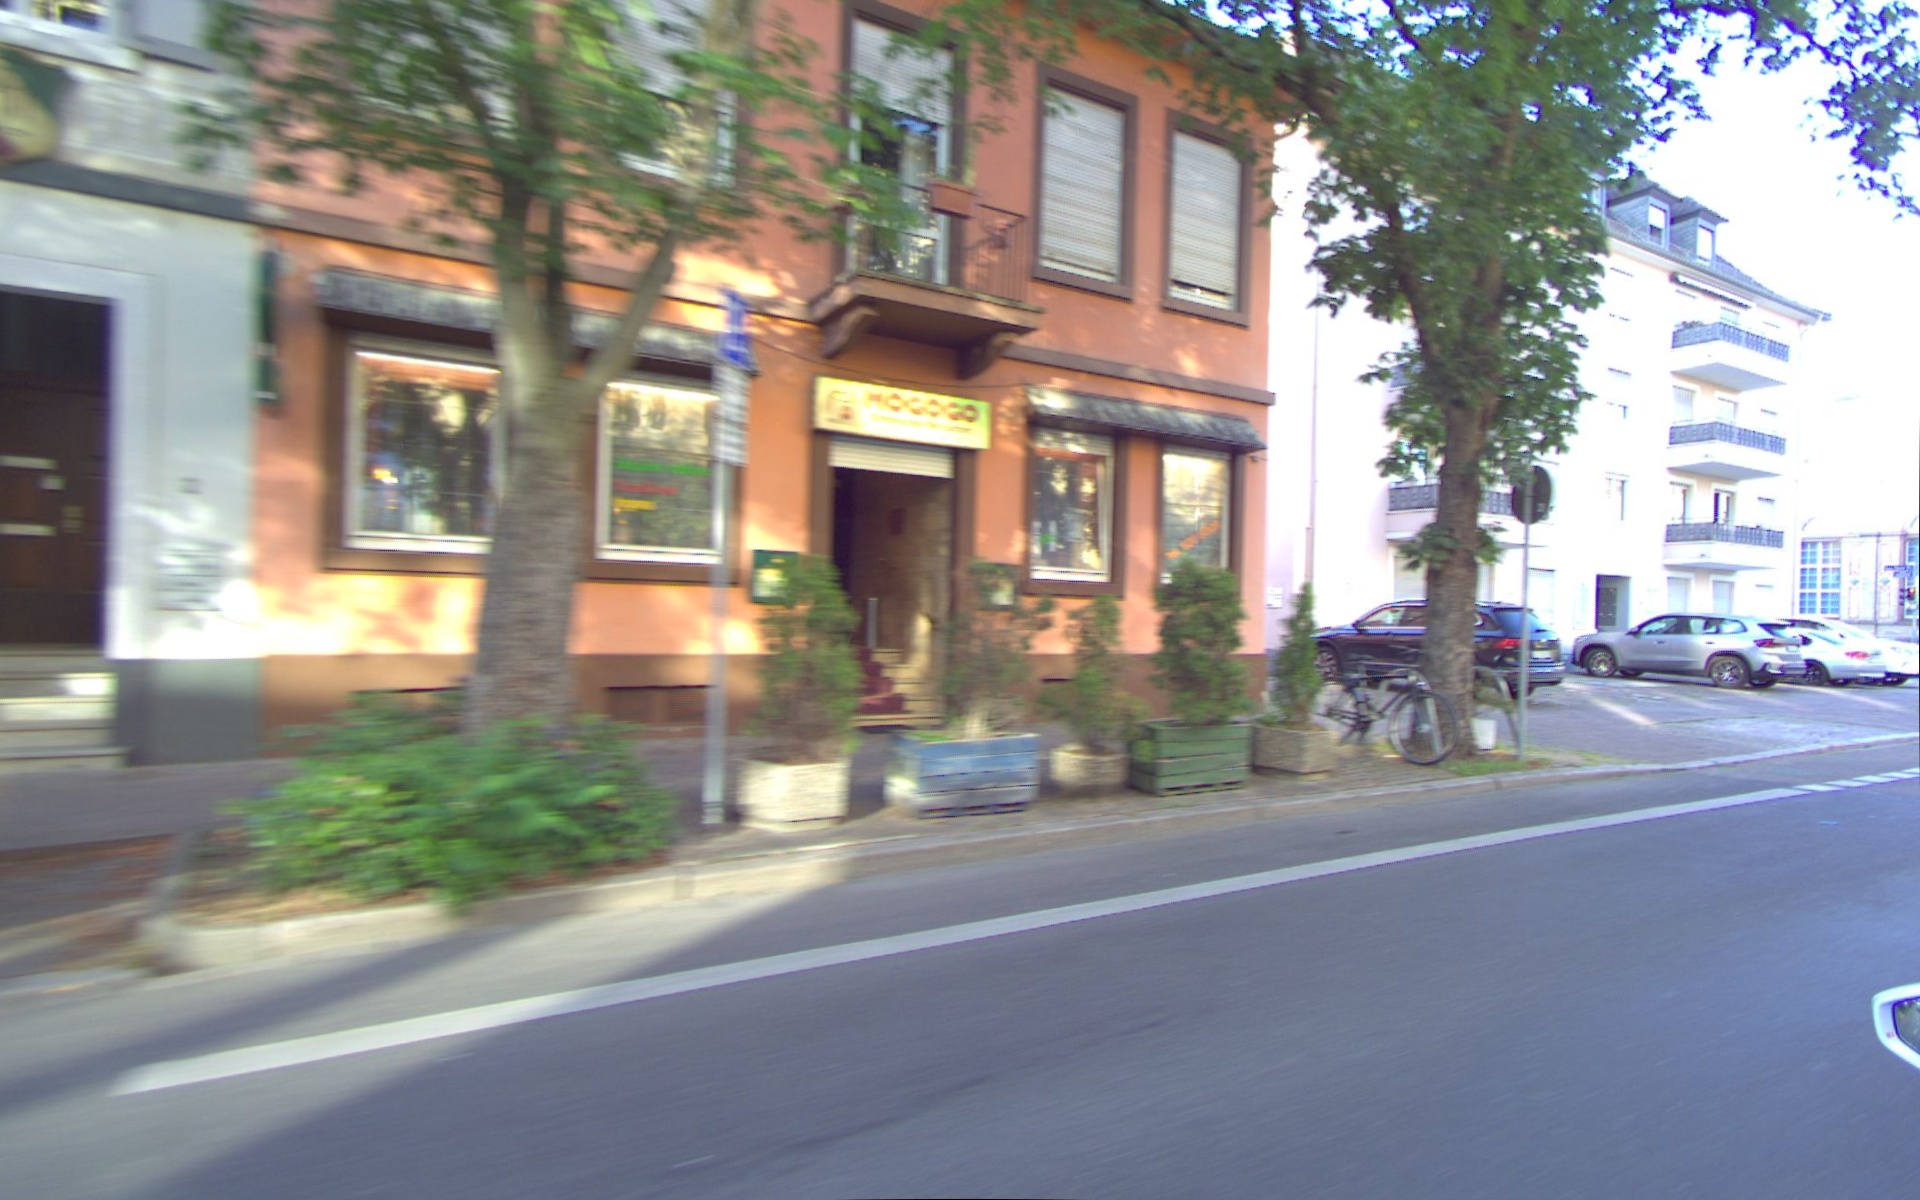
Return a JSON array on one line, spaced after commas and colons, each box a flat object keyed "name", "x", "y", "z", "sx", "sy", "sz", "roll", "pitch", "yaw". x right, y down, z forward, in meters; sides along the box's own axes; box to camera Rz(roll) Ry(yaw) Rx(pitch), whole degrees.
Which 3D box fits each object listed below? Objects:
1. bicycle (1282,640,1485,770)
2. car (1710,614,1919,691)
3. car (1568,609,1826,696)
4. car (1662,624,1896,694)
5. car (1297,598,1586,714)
[{"name": "bicycle", "x": 4.244, "y": 1.010, "z": 10.204, "sx": 0.604, "sy": 1.119, "sz": 1.853, "roll": 2, "pitch": 0, "yaw": -36}, {"name": "car", "x": 22.899, "y": 1.324, "z": 26.639, "sx": 1.920, "sy": 1.663, "sz": 4.418, "roll": 1, "pitch": 1, "yaw": -31}, {"name": "car", "x": 16.846, "y": 1.135, "z": 23.213, "sx": 1.894, "sy": 1.627, "sz": 4.395, "roll": 1, "pitch": 1, "yaw": -31}, {"name": "car", "x": 20.587, "y": 1.416, "z": 25.441, "sx": 1.716, "sy": 1.399, "sz": 4.245, "roll": 1, "pitch": 1, "yaw": -31}, {"name": "car", "x": 8.468, "y": 0.893, "z": 18.097, "sx": 1.842, "sy": 1.687, "sz": 4.395, "roll": 1, "pitch": 1, "yaw": -31}]
